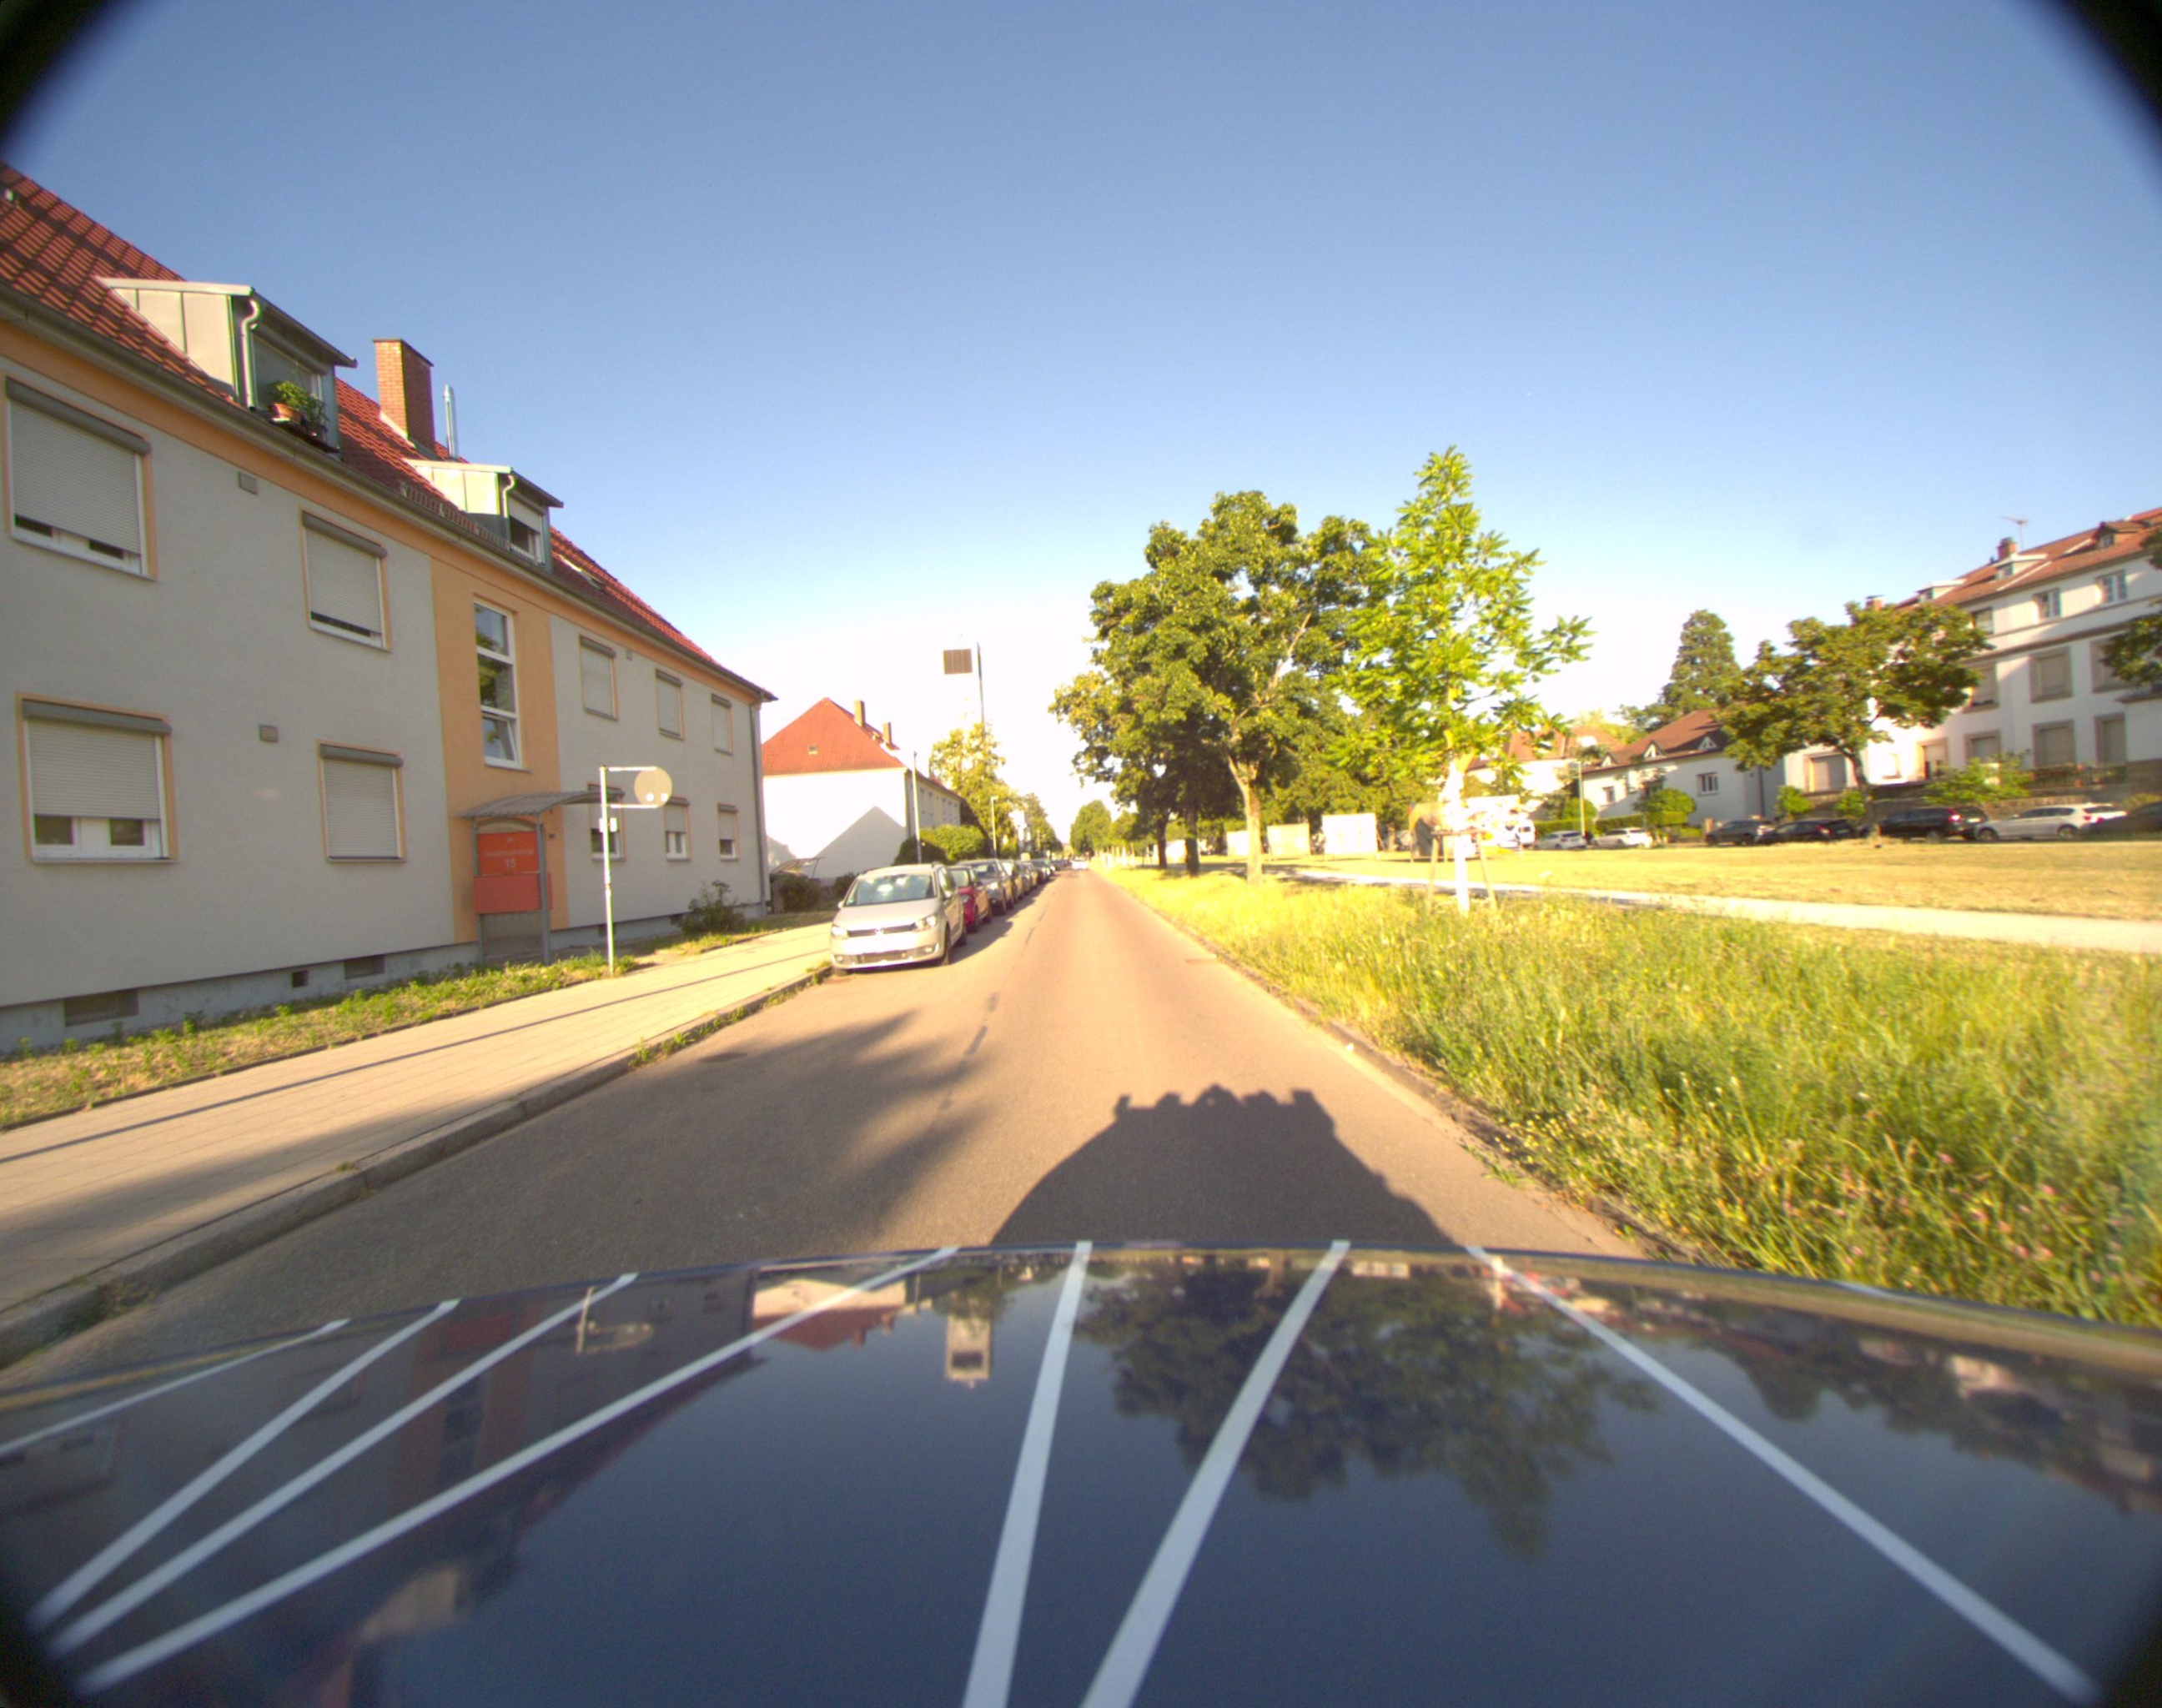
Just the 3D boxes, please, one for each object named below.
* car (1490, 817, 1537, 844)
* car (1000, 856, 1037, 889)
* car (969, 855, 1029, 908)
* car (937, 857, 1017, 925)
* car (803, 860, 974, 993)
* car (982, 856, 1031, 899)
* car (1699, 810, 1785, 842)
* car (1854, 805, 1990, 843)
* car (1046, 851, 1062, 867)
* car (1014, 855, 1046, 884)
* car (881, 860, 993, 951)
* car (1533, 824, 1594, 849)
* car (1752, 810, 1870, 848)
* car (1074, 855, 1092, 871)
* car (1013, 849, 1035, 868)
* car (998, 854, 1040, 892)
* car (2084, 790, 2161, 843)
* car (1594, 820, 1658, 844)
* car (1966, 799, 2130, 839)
[{"bbox_3d":[39.525,-2.126,69.536,1.998,2.201,4.131,-3,1,3],"label":"car"},{"bbox_3d":[-3.662,1.061,45.298,1.850,1.686,3.999,-5,1,-2],"label":"car"},{"bbox_3d":[-3.069,0.990,29.086,1.850,1.686,3.999,-5,1,-2],"label":"car"},{"bbox_3d":[-3.026,1.039,22.954,1.850,1.686,3.999,-5,1,-2],"label":"car"},{"bbox_3d":[-3.021,1.049,12.828,1.850,1.686,3.999,-5,1,-2],"label":"car"},{"bbox_3d":[-3.316,1.006,34.491,1.850,1.686,3.999,-5,1,-2],"label":"car"},{"bbox_3d":[39.197,-1.625,45.189,1.642,1.652,4.000,-3,0,2],"label":"car"},{"bbox_3d":[39.877,-1.355,36.207,1.825,1.571,4.162,-3,0,0],"label":"car"},{"bbox_3d":[-3.369,0.609,95.333,1.850,1.686,3.999,-5,1,-2],"label":"car"},{"bbox_3d":[-3.317,0.983,50.028,1.850,1.686,3.999,-5,1,-2],"label":"car"},{"bbox_3d":[-3.235,1.076,17.807,1.850,1.686,3.999,-5,1,-2],"label":"car"},{"bbox_3d":[34.107,-1.222,53.841,1.825,1.571,3.836,-3,0,0],"label":"car"},{"bbox_3d":[34.156,-1.137,35.702,1.825,1.571,3.836,-3,0,0],"label":"car"},{"bbox_3d":[0.219,1.058,92.972,1.870,1.686,4.299,-5,1,-2],"label":"car"},{"bbox_3d":[-5.677,0.379,75.737,1.850,1.686,3.999,-5,1,-2],"label":"car"},{"bbox_3d":[-3.166,0.943,39.684,1.850,1.686,3.999,-5,1,-2],"label":"car"},{"bbox_3d":[33.815,-1.204,22.969,1.825,1.571,3.835,-3,0,-3],"label":"car"},{"bbox_3d":[39.791,-1.563,55.589,1.825,1.571,3.967,-3,0,0],"label":"car"},{"bbox_3d":[39.917,-1.392,31.531,1.641,1.437,4.008,-2,1,-1],"label":"car"}]
